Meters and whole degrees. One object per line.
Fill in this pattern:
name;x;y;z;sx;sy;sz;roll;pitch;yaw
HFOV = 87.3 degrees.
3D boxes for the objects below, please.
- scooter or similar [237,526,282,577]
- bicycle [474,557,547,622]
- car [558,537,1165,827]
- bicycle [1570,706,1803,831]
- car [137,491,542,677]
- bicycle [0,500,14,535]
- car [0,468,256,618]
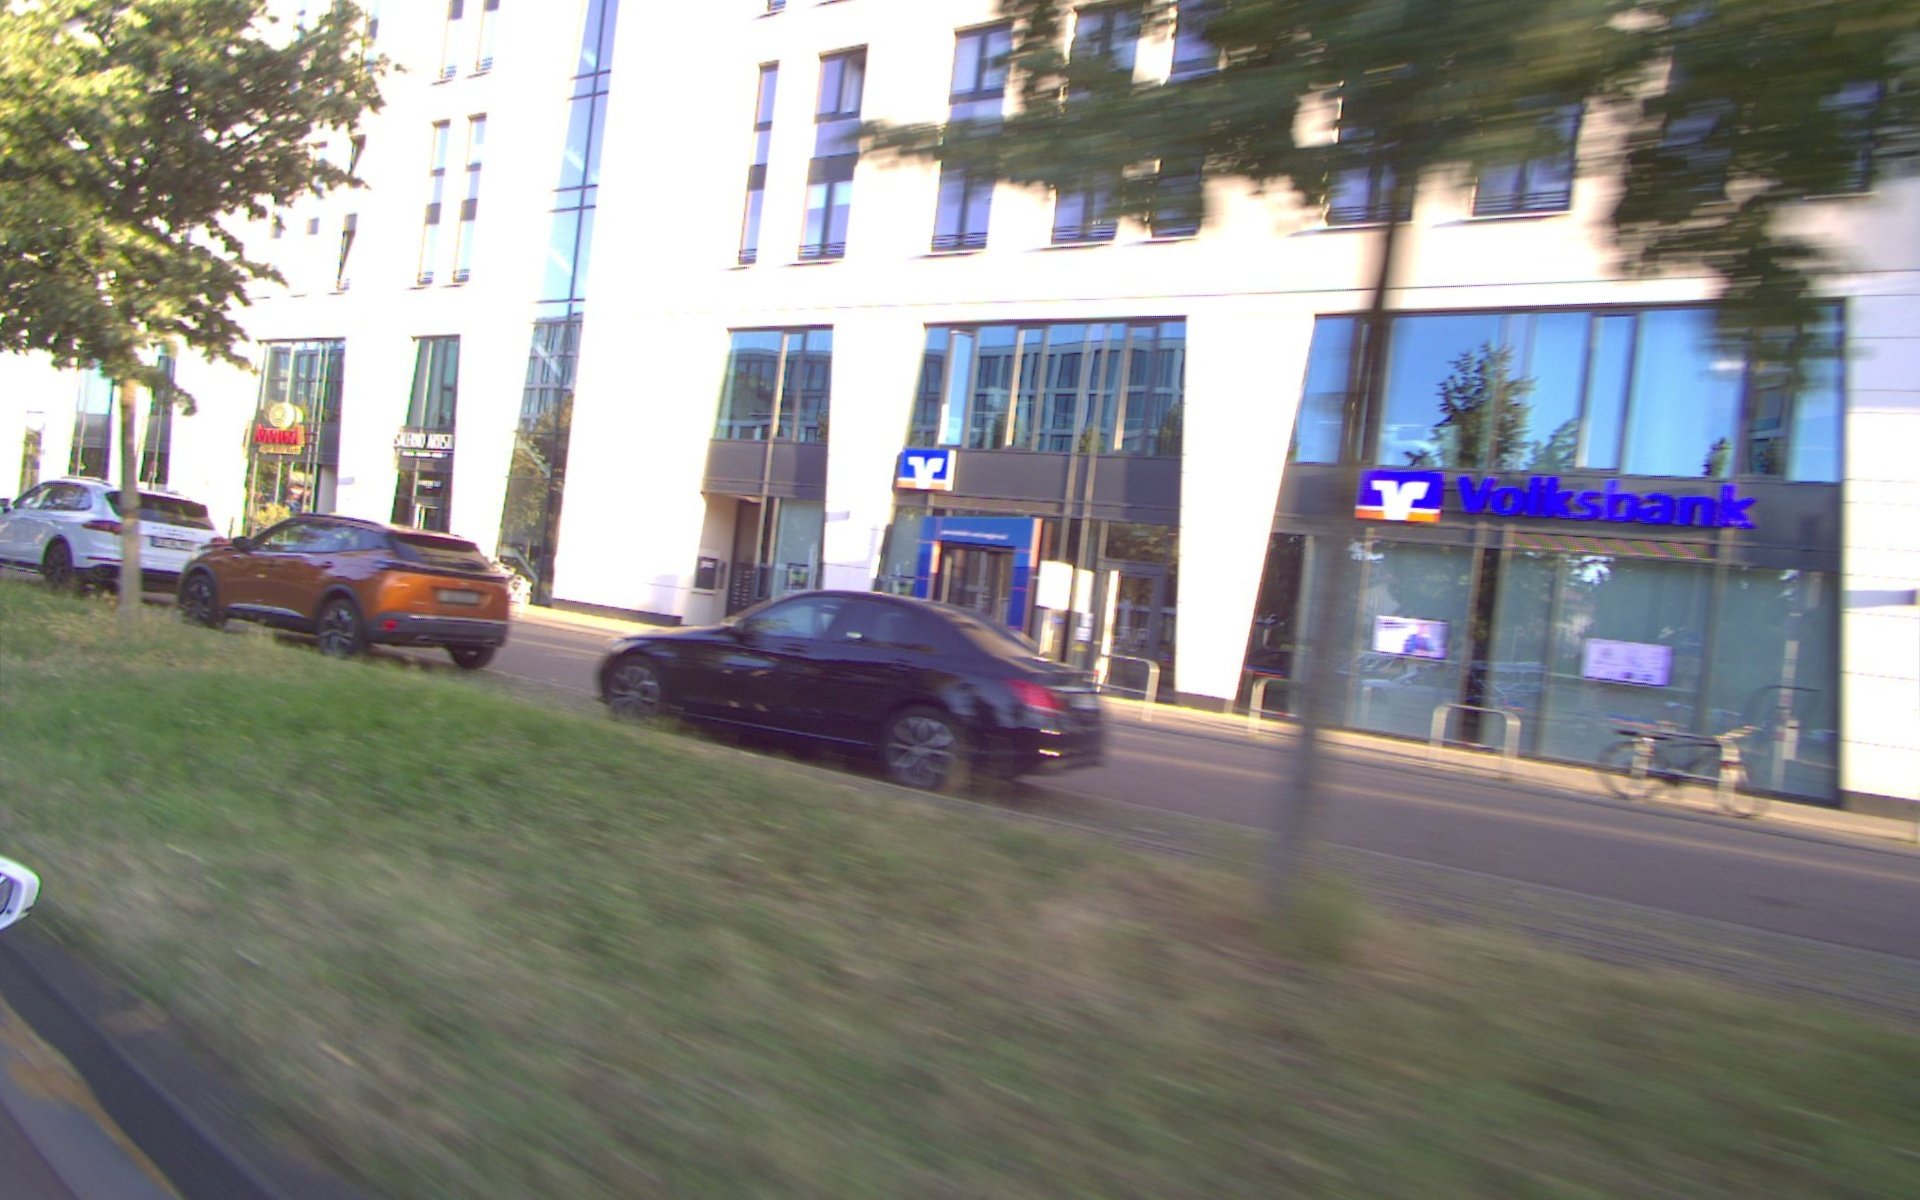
scooter or similar;-18.327;-1.272;26.309;1.288;1.202;0.356;7;2;29
bicycle;-9.391;-0.226;20.983;1.806;1.139;0.570;8;3;39
car;-0.885;0.546;8.616;4.726;1.568;1.948;7;0;25
bicycle;8.380;1.916;11.729;2.019;1.051;0.654;7;0;28
car;-7.251;-0.203;11.702;4.404;1.547;1.860;7;-2;27
bicycle;-31.300;-2.717;32.481;1.927;1.075;0.518;6;2;29
car;-13.359;-0.941;15.471;5.069;1.734;1.957;7;-2;29
